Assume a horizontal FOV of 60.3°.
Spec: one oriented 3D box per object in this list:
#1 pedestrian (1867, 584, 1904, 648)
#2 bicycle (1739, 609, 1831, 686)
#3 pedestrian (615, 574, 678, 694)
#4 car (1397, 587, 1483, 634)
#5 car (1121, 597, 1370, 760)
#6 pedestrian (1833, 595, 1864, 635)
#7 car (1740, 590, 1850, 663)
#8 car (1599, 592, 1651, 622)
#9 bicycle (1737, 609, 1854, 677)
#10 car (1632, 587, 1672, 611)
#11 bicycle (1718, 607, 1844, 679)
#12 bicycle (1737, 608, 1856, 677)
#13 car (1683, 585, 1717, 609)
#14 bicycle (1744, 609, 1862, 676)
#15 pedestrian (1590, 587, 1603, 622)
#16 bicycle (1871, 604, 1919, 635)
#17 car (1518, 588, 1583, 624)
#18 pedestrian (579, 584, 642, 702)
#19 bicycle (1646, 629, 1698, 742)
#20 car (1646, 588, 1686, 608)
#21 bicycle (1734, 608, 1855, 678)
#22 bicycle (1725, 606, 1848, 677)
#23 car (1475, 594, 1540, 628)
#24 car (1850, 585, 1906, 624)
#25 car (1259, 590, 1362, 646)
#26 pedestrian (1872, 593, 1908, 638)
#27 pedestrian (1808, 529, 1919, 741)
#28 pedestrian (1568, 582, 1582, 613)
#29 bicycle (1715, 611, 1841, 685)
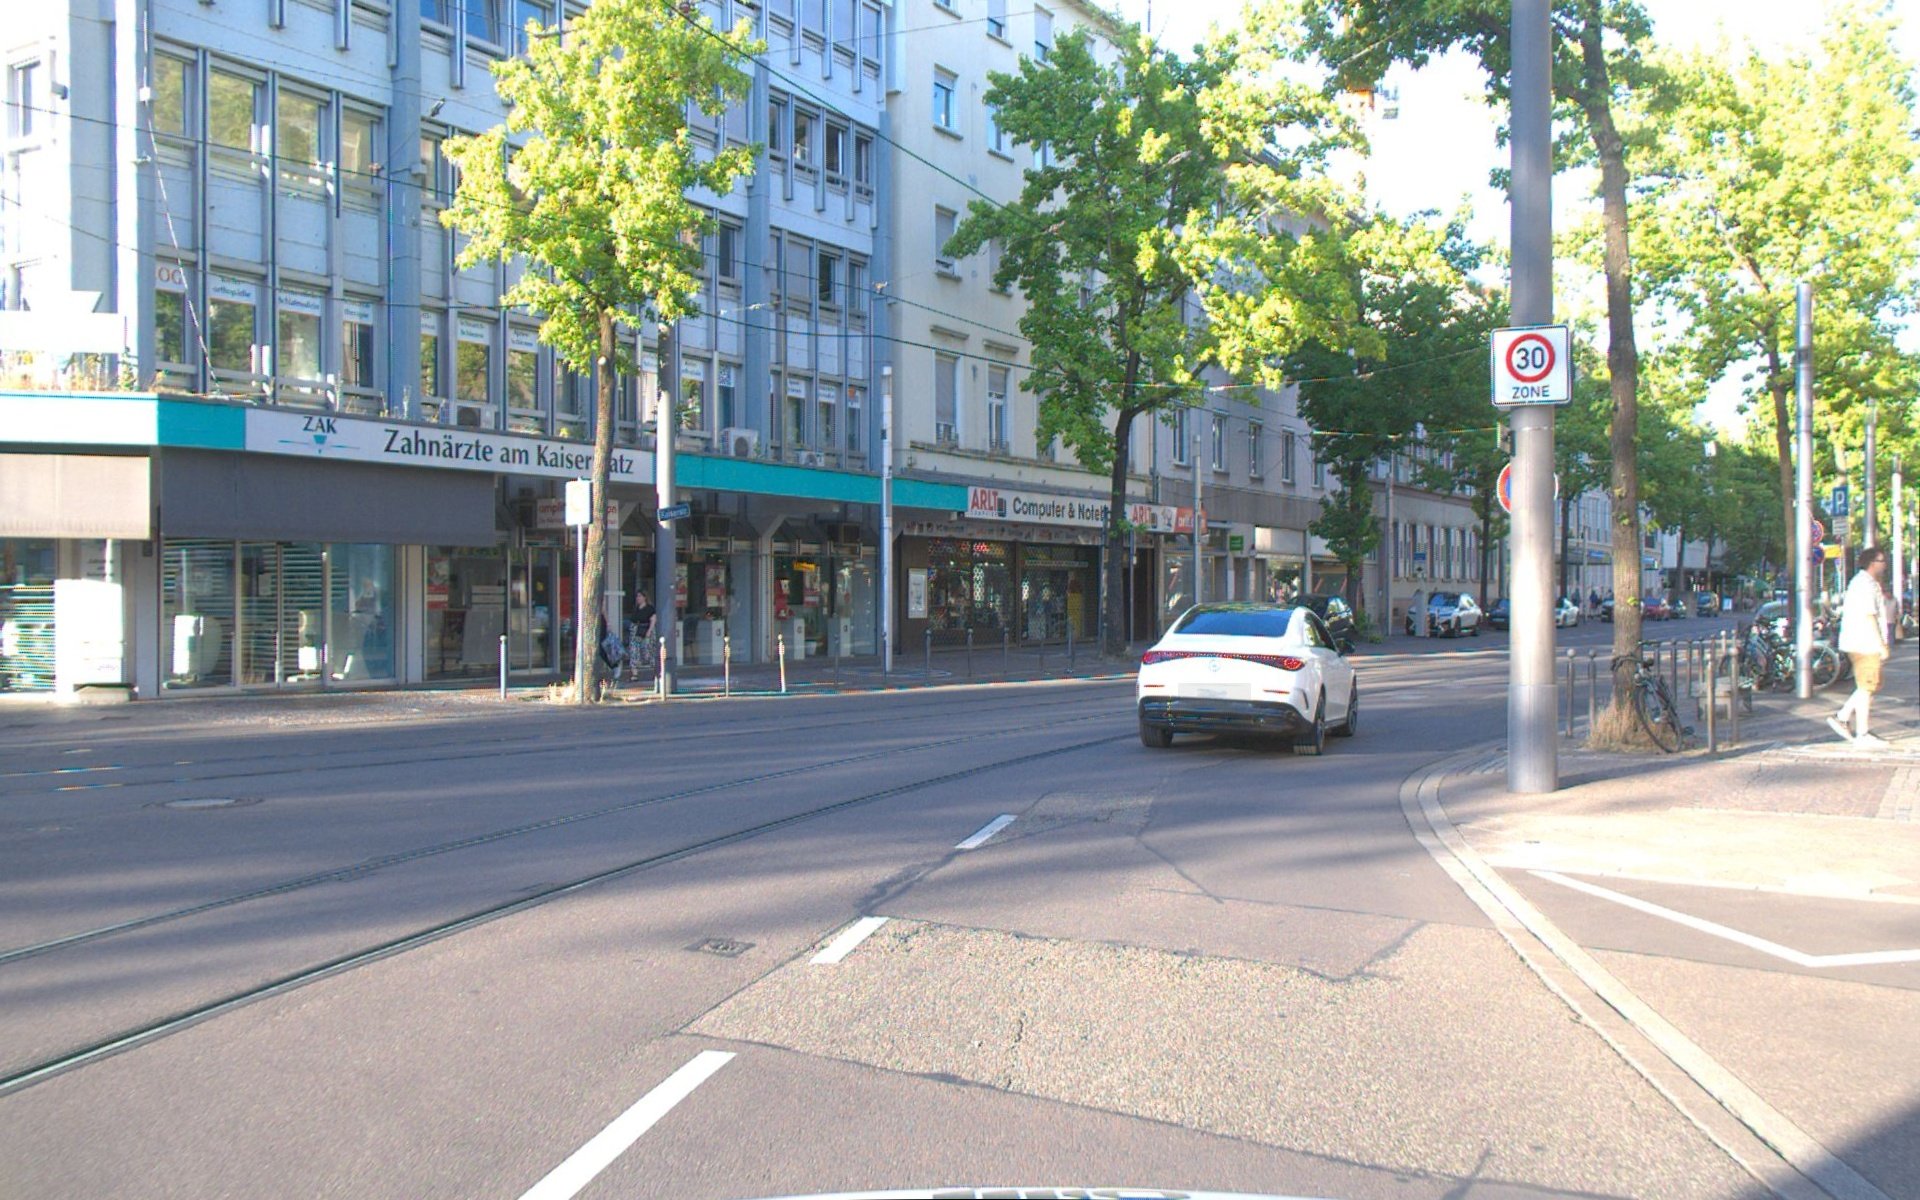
[{"bbox_3d":[24.730,0.423,44.191,0.788,1.672,0.754,-2,-1,32],"label":"pedestrian"},{"bbox_3d":[13.077,0.738,26.255,0.451,1.175,1.679,0,0,-7],"label":"bicycle"},{"bbox_3d":[-5.466,0.586,28.845,0.782,2.049,0.732,0,-1,33],"label":"pedestrian"},{"bbox_3d":[18.661,0.370,64.152,1.927,1.668,4.800,3,2,32],"label":"car"},{"bbox_3d":[3.121,0.734,17.397,1.829,1.494,4.043,-1,0,21],"label":"car"},{"bbox_3d":[28.659,0.479,53.351,0.804,1.287,0.584,0,0,38],"label":"pedestrian"},{"bbox_3d":[18.771,0.583,37.108,1.744,1.465,4.411,-4,-2,32],"label":"car"},{"bbox_3d":[38.983,0.411,96.907,1.927,1.721,4.999,0,0,33],"label":"car"},{"bbox_3d":[15.070,0.764,29.850,1.833,1.175,0.560,0,0,34],"label":"bicycle"},{"bbox_3d":[43.841,-0.073,104.762,1.658,1.525,4.222,0,0,33],"label":"car"},{"bbox_3d":[13.707,0.703,27.644,1.833,1.175,0.560,0,0,34],"label":"bicycle"},{"bbox_3d":[14.816,0.740,29.299,1.833,1.175,0.560,0,0,34],"label":"bicycle"},{"bbox_3d":[55.282,-0.228,123.474,1.529,1.827,3.150,0,0,40],"label":"car"},{"bbox_3d":[15.467,0.788,30.380,1.833,1.175,0.560,-3,-2,34],"label":"bicycle"},{"bbox_3d":[37.997,0.262,98.754,0.693,2.039,0.675,0,0,24],"label":"pedestrian"},{"bbox_3d":[34.969,0.722,61.494,1.817,1.093,0.712,-1,0,23],"label":"bicycle"},{"bbox_3d":[28.889,0.278,80.780,1.912,1.668,4.895,1,0,33],"label":"car"},{"bbox_3d":[-6.173,0.749,29.223,0.782,2.049,0.732,0,-1,33],"label":"pedestrian"},{"bbox_3d":[7.368,0.856,17.085,0.347,1.095,1.696,0,0,28],"label":"bicycle"},{"bbox_3d":[47.753,-0.121,111.851,1.957,1.315,3.991,0,0,31],"label":"car"},{"bbox_3d":[14.501,0.726,28.772,1.833,1.175,0.560,0,0,34],"label":"bicycle"},{"bbox_3d":[14.097,0.690,28.238,1.833,1.175,0.560,0,0,34],"label":"bicycle"},{"bbox_3d":[24.645,0.471,74.343,1.925,1.437,4.838,0,0,29],"label":"car"},{"bbox_3d":[36.573,0.183,65.981,1.779,1.512,3.996,0,0,27],"label":"car"},{"bbox_3d":[11.126,0.545,52.313,1.927,1.668,3.989,0,0,33],"label":"car"},{"bbox_3d":[29.563,0.499,52.557,0.693,1.411,0.746,0,0,-5],"label":"pedestrian"},{"bbox_3d":[9.060,0.339,16.512,0.825,2.049,0.844,0,-1,9],"label":"pedestrian"},{"bbox_3d":[36.984,-0.149,99.457,0.693,1.838,0.675,0,0,27],"label":"pedestrian"},{"bbox_3d":[13.435,0.781,27.182,1.833,1.175,0.346,0,0,34],"label":"bicycle"}]
